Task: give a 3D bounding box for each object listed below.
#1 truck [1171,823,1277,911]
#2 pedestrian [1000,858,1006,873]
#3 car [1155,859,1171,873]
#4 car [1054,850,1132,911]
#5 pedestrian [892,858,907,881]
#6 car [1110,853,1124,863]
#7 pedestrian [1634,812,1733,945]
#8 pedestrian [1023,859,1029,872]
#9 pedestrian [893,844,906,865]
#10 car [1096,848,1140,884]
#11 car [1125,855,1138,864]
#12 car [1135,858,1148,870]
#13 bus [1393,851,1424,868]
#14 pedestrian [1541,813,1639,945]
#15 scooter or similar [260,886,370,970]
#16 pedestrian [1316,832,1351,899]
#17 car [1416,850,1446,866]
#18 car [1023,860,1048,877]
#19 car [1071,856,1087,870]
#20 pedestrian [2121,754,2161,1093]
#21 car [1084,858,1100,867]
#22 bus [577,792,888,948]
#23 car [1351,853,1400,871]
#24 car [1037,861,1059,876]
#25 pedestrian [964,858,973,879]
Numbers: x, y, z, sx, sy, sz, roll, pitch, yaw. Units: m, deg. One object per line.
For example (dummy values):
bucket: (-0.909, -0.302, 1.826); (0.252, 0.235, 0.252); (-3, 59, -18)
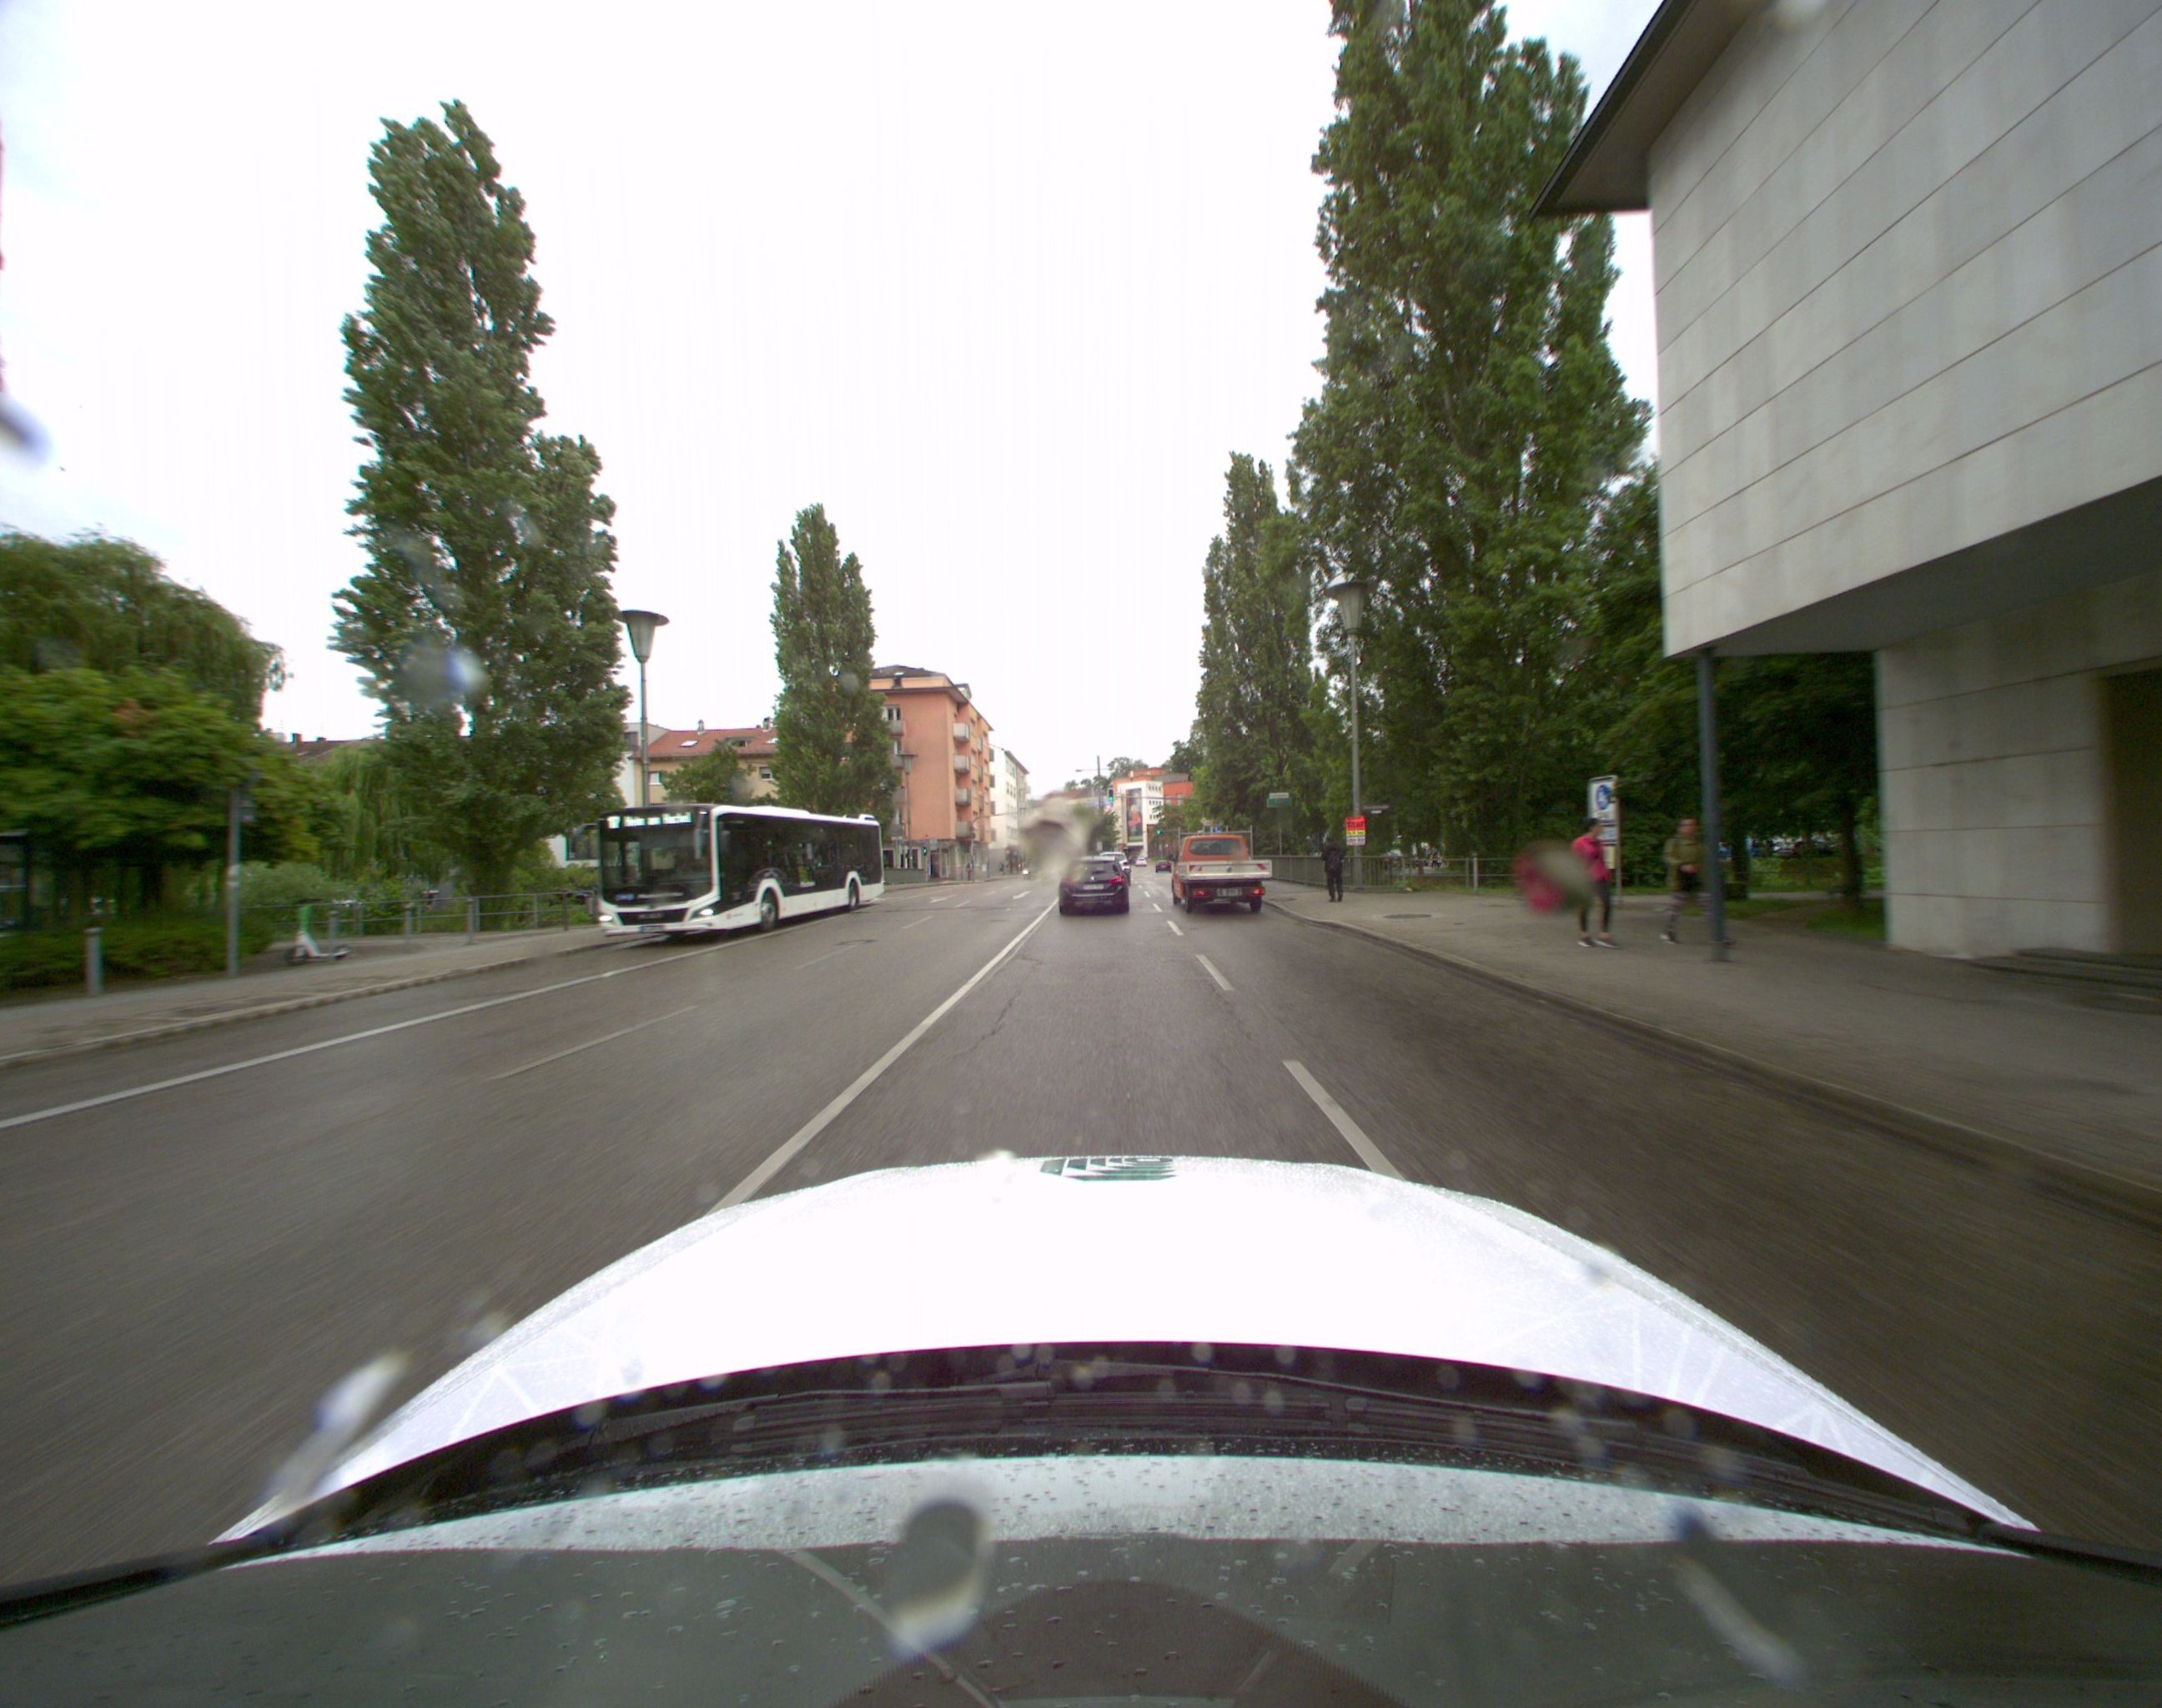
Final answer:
truck: (3.571, 0.297, 21.212); (2.113, 2.025, 4.719); (-1, 0, 3)
pedestrian: (-9.441, 1.401, 98.418); (0.637, 1.861, 0.524); (-1, -1, 0)
car: (9.730, 1.426, 96.826); (1.638, 1.564, 3.601); (1, -3, 2)
car: (0.409, 0.684, 21.666); (1.786, 1.484, 4.005); (0, -1, 5)
pedestrian: (-13.626, 1.165, 61.110); (0.789, 1.663, 0.625); (-5, -3, 37)
car: (6.522, 0.692, 147.401); (1.991, 1.684, 3.991); (-2, -1, -6)
pedestrian: (7.616, 0.301, 10.322); (0.723, 1.589, 0.607); (-3, -1, 1)
pedestrian: (-8.423, 1.794, 124.700); (0.731, 2.014, 0.651); (3, -4, -31)
pedestrian: (-13.487, 0.052, 60.371); (0.648, 1.445, 0.801); (-3, -3, 7)
car: (1.726, 0.542, 36.923); (1.786, 1.483, 4.005); (-2, -1, 4)
car: (9.124, 0.987, 146.299); (1.644, 1.564, 3.589); (2, -3, -8)
car: (10.160, 1.652, 136.361); (1.986, 1.821, 4.002); (-1, 0, 2)
bus: (34.967, 0.567, 87.076); (1.984, 1.724, 4.005); (-1, -1, 5)
pedestrian: (6.607, 0.313, 10.604); (0.714, 1.620, 0.770); (-3, -1, 2)
scooter or similar: (-13.880, 1.302, 14.817); (0.480, 1.313, 1.571); (-2, 2, -2)
pedestrian: (6.427, 0.291, 20.738); (0.637, 1.664, 0.563); (-3, 1, 1)
car: (37.734, 0.433, 87.917); (1.810, 1.651, 4.006); (-1, -1, 5)
car: (-3.896, 1.225, 70.223); (1.785, 1.325, 4.408); (-2, -1, 2)
car: (-0.231, 1.133, 102.041); (1.730, 1.601, 3.921); (-3, -1, 2)
pedestrian: (5.920, 0.348, 3.877); (0.651, 1.767, 0.923); (-3, -1, 2)
car: (2.108, 1.633, 155.413); (1.651, 1.564, 3.572); (2, -3, -22)
bus: (-8.480, 0.229, 22.556); (2.733, 3.075, 12.246); (-2, 1, 3)
car: (29.107, 0.786, 80.558); (4.110, 1.621, 1.805); (-2, -1, -2)
car: (-3.445, 1.514, 85.455); (1.829, 1.510, 4.823); (-2, 0, 2)
pedestrian: (-9.488, 1.208, 68.787); (0.528, 1.727, 0.650); (-2, -1, 6)
